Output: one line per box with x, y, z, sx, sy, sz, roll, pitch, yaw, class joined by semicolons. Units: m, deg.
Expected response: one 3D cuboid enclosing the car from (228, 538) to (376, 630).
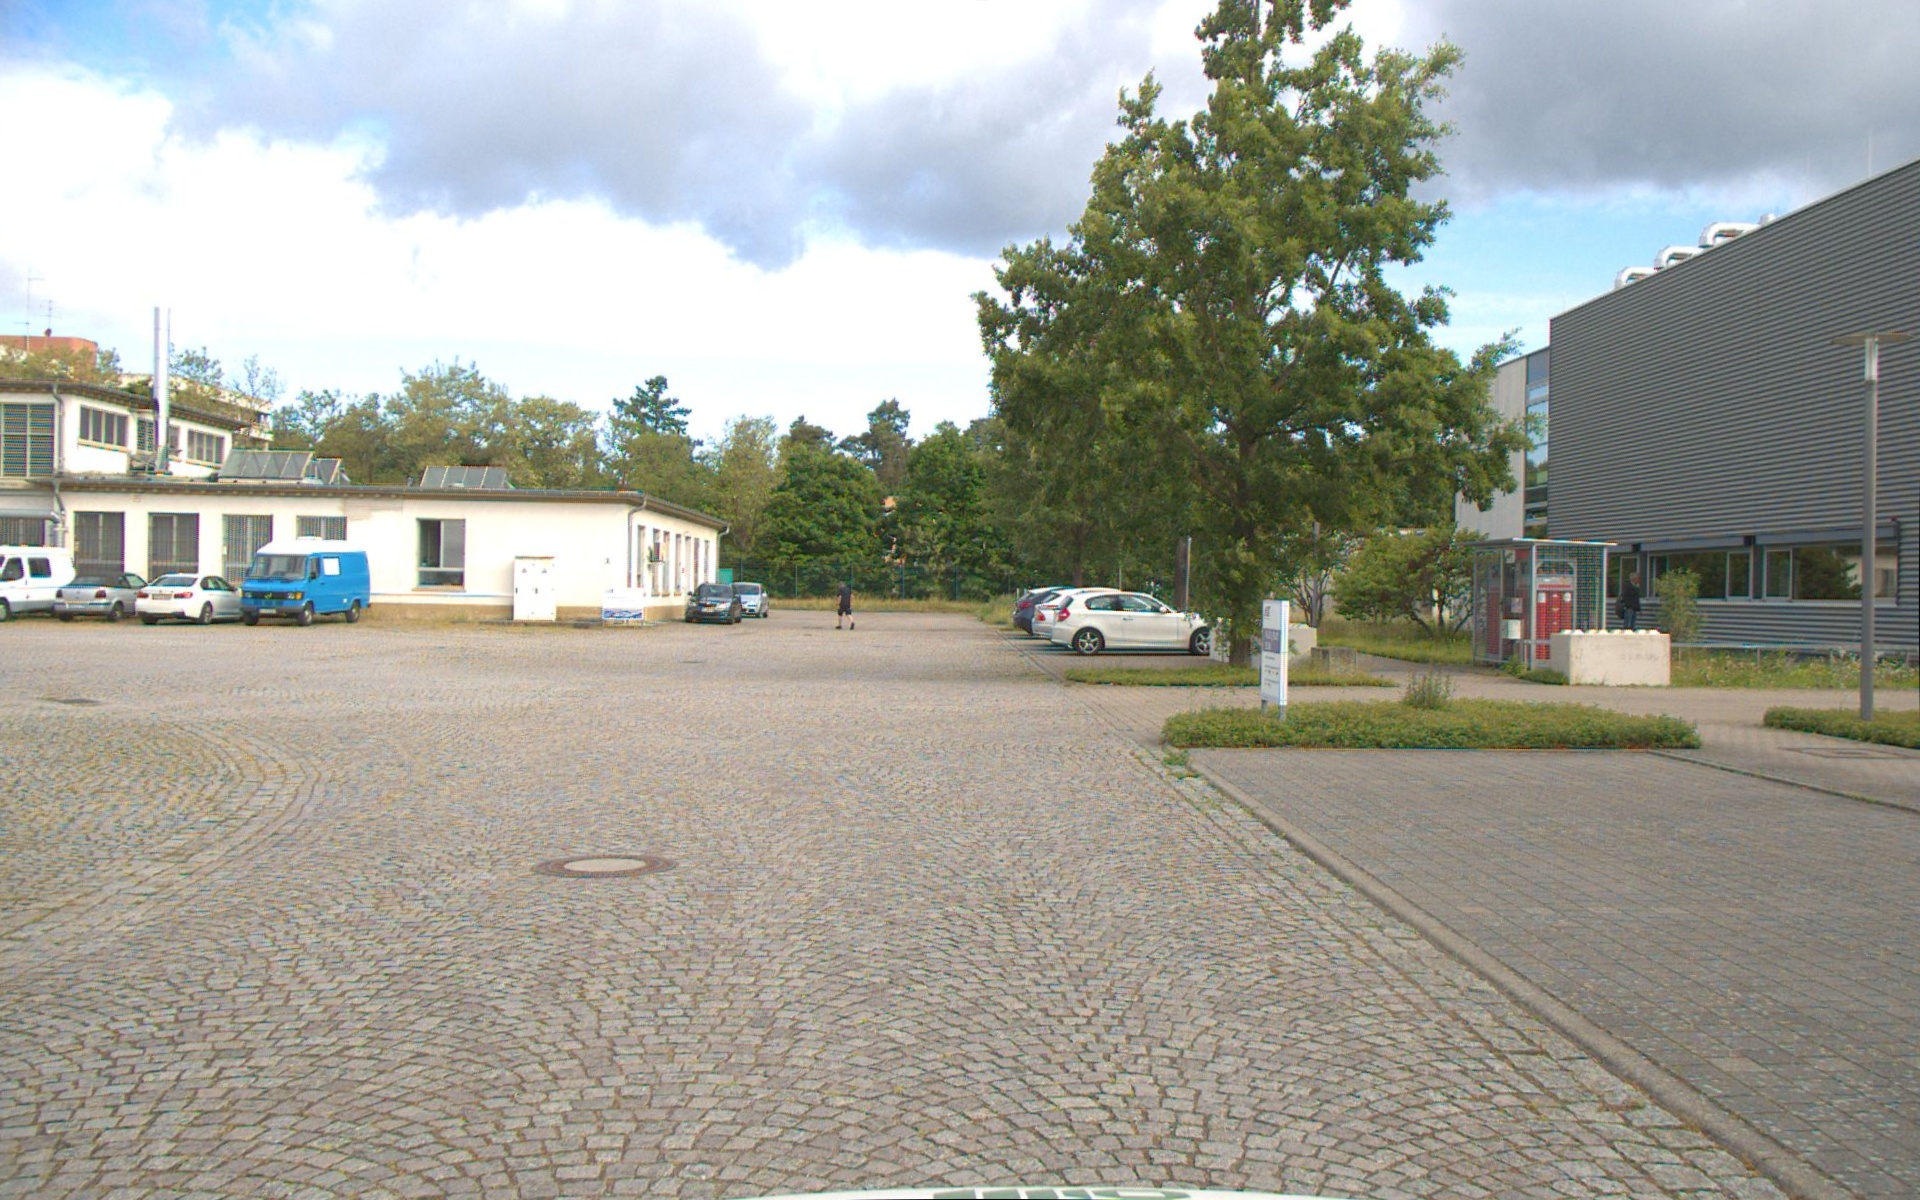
-19.488;-0.462;49.299;1.952;2.567;5.619;1;0;2;car

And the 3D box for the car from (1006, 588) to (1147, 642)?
3.309;0.411;47.653;3.906;1.481;1.769;1;0;-1;car

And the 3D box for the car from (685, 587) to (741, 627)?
-9.099;0.239;61.175;1.714;1.388;3.997;1;0;-4;car

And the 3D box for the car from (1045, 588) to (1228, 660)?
3.953;0.538;37.556;3.906;1.481;1.999;1;-1;-1;car

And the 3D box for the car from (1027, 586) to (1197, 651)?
3.614;0.440;39.716;3.906;1.481;1.697;1;0;-1;car

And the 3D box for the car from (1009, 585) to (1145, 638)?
3.554;0.353;50.875;3.909;1.560;1.998;1;0;-5;car

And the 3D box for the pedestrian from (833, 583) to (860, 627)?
-4.157;0.175;60.727;0.921;1.595;0.971;1;0;-1;pedestrian

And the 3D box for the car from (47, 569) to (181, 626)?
-24.903;-0.073;48.854;1.862;1.602;4.000;1;0;0;car

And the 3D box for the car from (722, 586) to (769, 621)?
-9.221;0.134;71.404;1.714;1.480;3.997;1;0;-4;car

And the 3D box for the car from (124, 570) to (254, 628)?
-22.269;-0.036;47.947;1.862;1.602;4.000;1;0;0;car

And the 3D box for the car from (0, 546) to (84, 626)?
-27.844;-0.398;48.291;1.861;2.245;4.783;1;0;1;car

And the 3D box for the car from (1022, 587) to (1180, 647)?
3.599;0.438;42.757;3.906;1.481;1.769;1;0;-1;car

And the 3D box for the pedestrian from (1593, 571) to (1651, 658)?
15.288;0.335;38.201;0.908;1.970;0.846;1;0;-32;pedestrian
